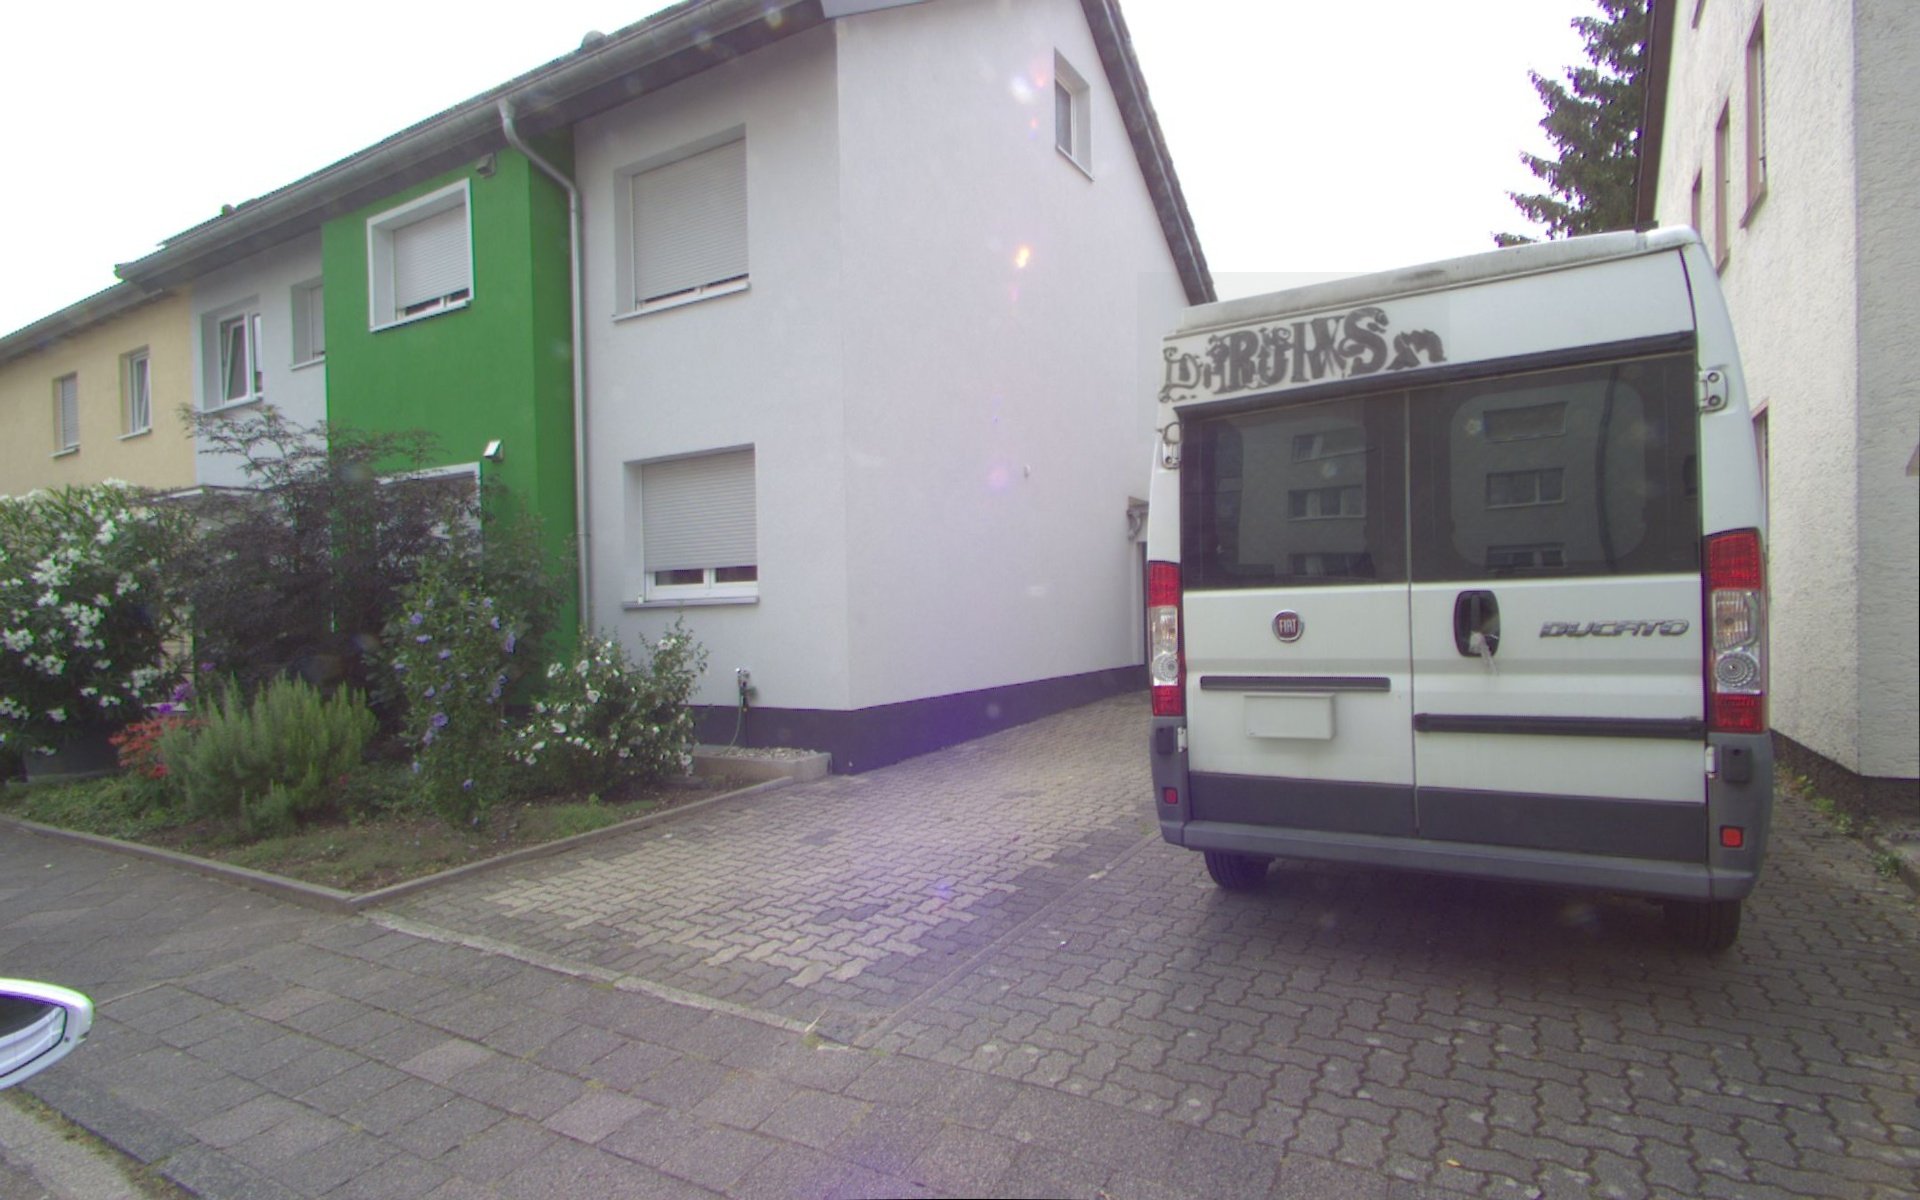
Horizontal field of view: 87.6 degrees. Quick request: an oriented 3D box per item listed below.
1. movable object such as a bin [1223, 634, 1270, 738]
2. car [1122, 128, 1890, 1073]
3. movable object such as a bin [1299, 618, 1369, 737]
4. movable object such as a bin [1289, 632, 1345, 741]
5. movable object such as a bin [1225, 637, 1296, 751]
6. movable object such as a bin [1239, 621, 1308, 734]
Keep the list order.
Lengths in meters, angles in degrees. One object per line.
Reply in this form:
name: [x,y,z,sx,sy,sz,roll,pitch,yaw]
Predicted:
movable object such as a bin: [2.713,0.805,9.474,0.333,0.938,0.354,-1,2,30]
car: [2.889,-0.018,5.488,2.205,2.576,5.077,-1,1,31]
movable object such as a bin: [3.563,0.720,9.521,0.538,1.071,0.454,-1,2,30]
movable object such as a bin: [3.264,0.776,9.146,0.396,0.938,0.448,-1,2,30]
movable object such as a bin: [2.668,0.813,8.877,0.475,0.938,0.518,-1,2,30]
movable object such as a bin: [3.076,0.746,9.803,0.538,1.046,0.454,-1,2,30]
